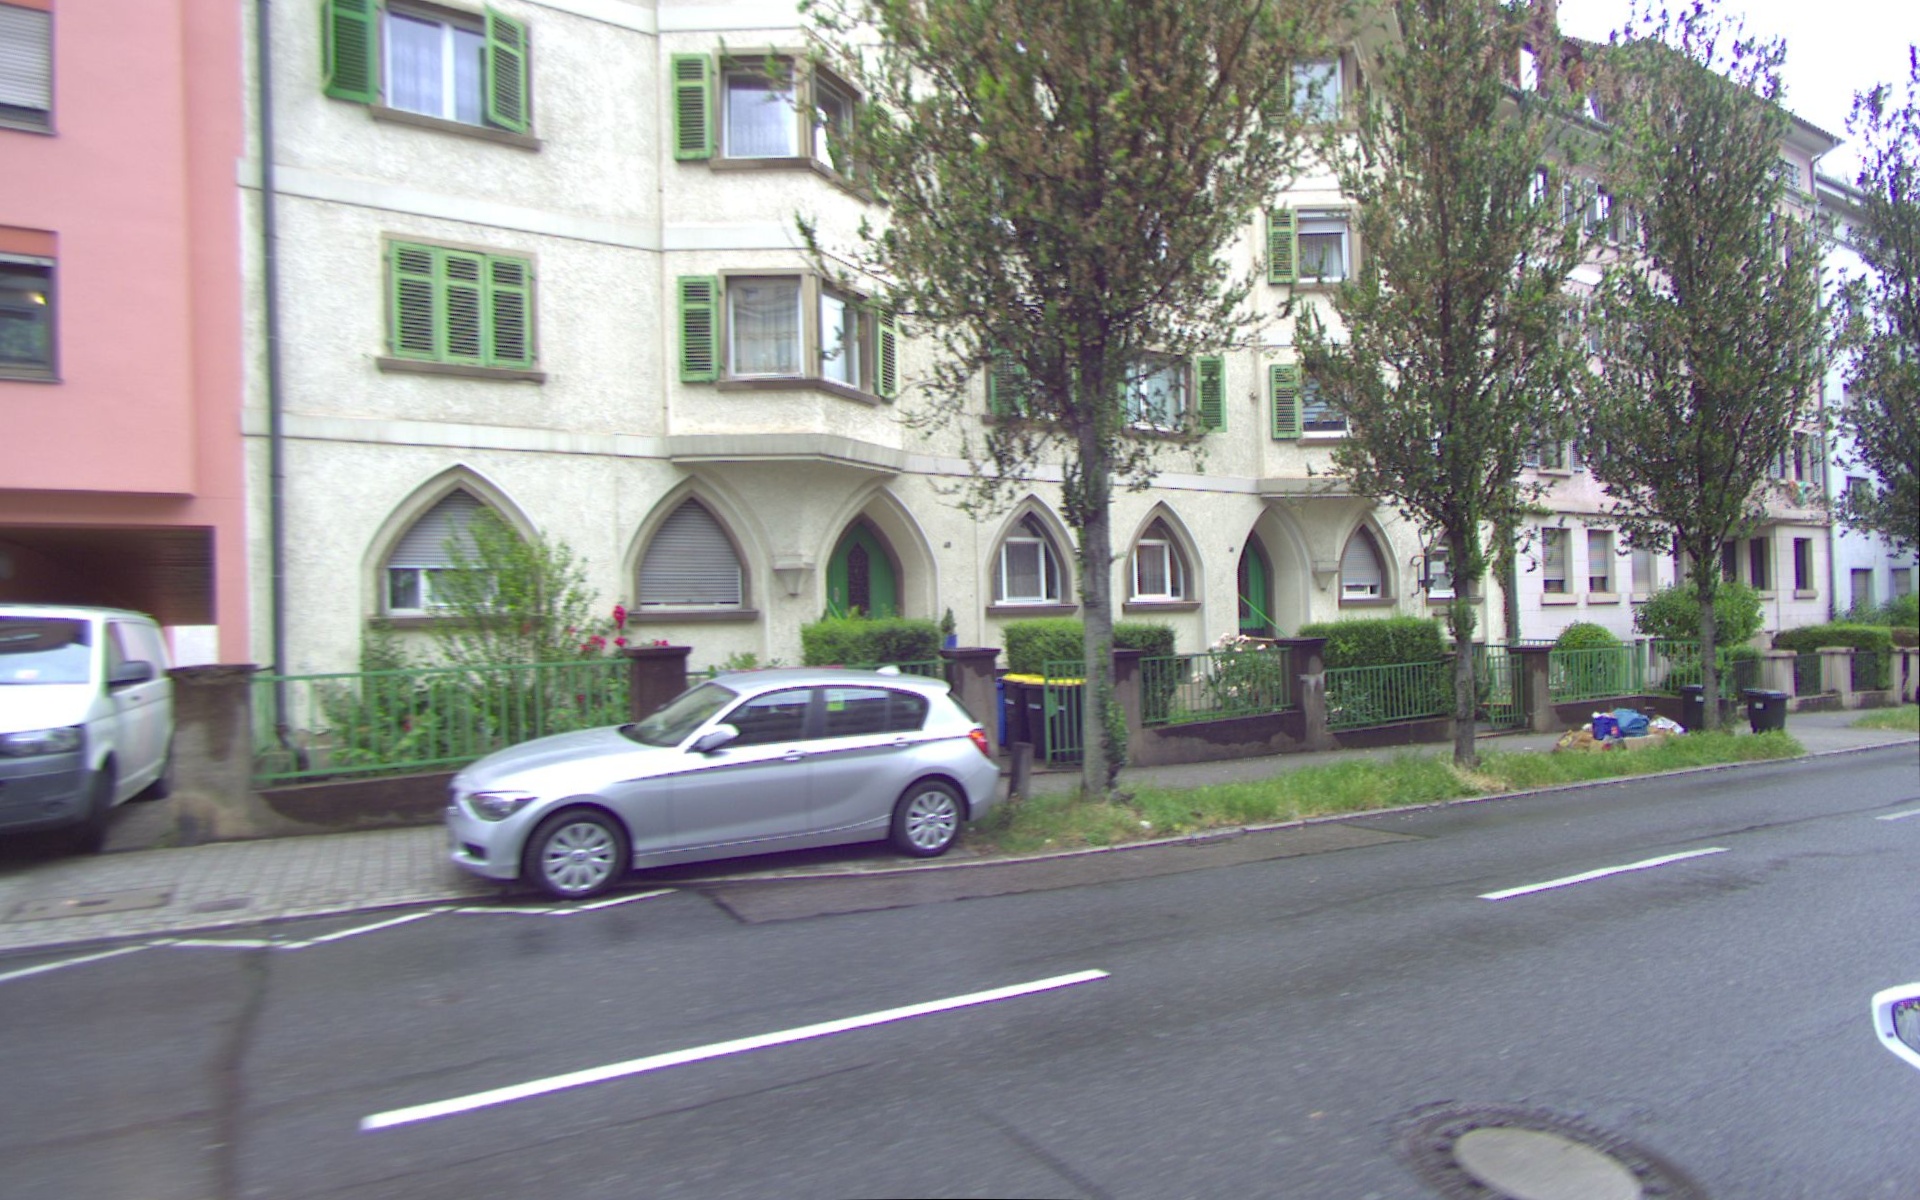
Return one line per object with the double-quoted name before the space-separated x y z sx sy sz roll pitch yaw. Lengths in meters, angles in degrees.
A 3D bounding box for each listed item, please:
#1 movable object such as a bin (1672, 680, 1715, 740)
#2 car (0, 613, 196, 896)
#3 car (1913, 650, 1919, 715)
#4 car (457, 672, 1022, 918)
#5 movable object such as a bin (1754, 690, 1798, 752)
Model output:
"movable object such as a bin" 11.782 1.757 16.138 0.566 0.923 0.362 2 -1 -31
"car" -8.124 1.091 8.657 1.897 1.929 4.695 2 -2 -31
"car" 22.894 1.803 22.024 4.549 1.403 1.671 2 -3 -30
"car" -1.669 1.330 7.992 4.088 1.436 1.674 1 -4 -30
"movable object such as a bin" 12.533 1.848 15.426 0.566 0.901 0.362 2 -1 -31
